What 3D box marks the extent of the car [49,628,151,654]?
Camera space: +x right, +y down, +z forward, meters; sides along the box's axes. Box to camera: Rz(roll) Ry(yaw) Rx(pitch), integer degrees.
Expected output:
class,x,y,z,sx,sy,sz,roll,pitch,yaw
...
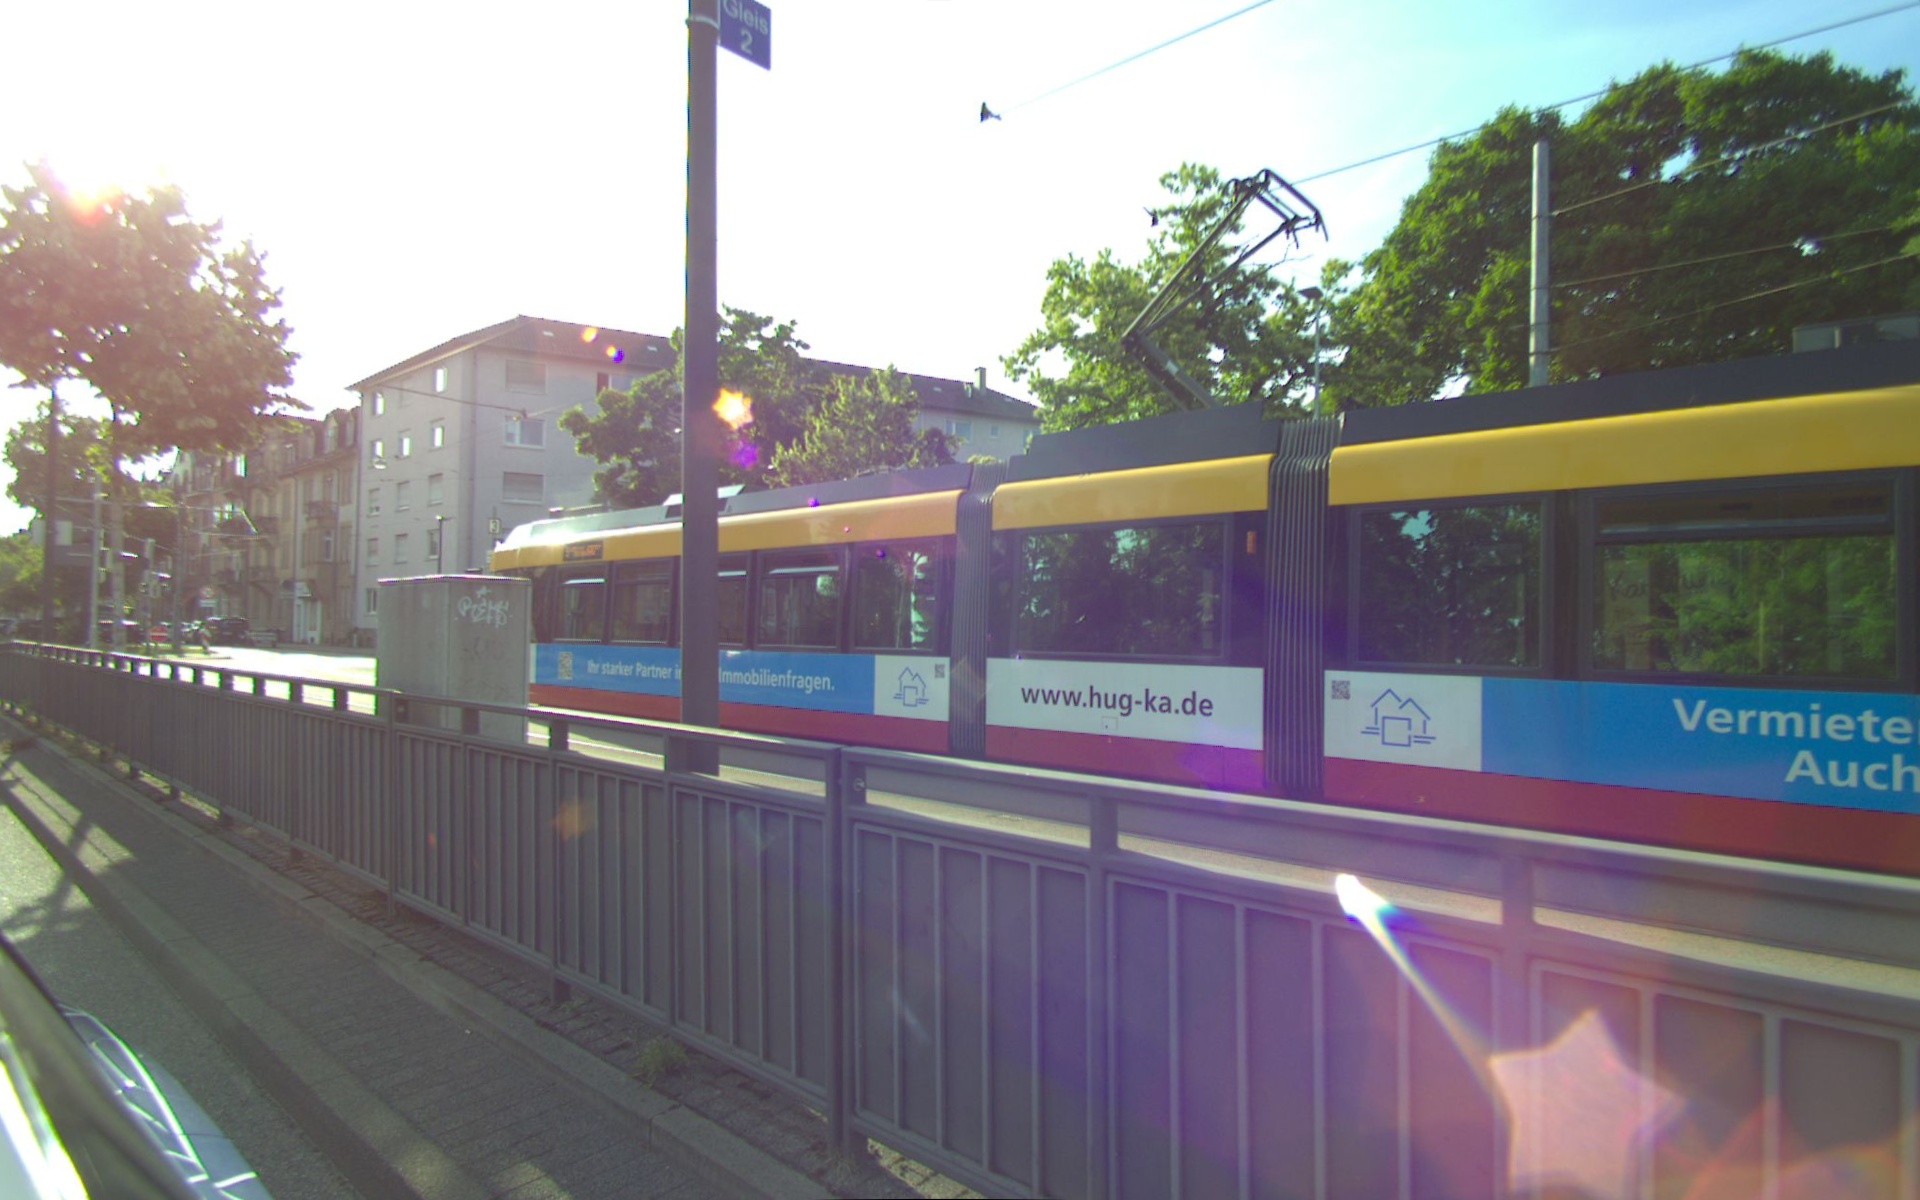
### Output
class,x,y,z,sx,sy,sz,roll,pitch,yaw
car,-46.750,2.232,55.083,3.888,1.370,1.677,1,-2,-11

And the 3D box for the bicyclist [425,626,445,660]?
class,x,y,z,sx,sy,sz,roll,pitch,yaw
bicyclist,-25.441,2.081,49.014,0.839,1.655,0.816,1,-2,-28

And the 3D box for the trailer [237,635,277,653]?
class,x,y,z,sx,sy,sz,roll,pitch,yaw
trailer,-43.351,2.704,62.398,2.879,0.903,1.425,-2,3,43

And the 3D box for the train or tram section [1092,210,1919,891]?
class,x,y,z,sx,sy,sz,roll,pitch,yaw
train or tram section,7.548,-0.278,4.971,14.466,3.506,3.128,-2,-2,42

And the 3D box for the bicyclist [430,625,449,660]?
class,x,y,z,sx,sy,sz,roll,pitch,yaw
bicyclist,-24.836,2.010,48.317,0.760,1.655,0.797,2,-3,-27

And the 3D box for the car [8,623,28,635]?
class,x,y,z,sx,sy,sz,roll,pitch,yaw
car,-153.440,4.723,164.825,3.998,2.029,1.972,-2,-2,42

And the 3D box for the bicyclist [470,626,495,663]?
class,x,y,z,sx,sy,sz,roll,pitch,yaw
bicyclist,-18.450,1.722,39.105,0.717,1.424,0.643,-2,-2,45

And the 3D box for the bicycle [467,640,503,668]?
class,x,y,z,sx,sy,sz,roll,pitch,yaw
bicycle,-18.361,2.058,39.076,0.535,1.026,2.251,1,-2,-45

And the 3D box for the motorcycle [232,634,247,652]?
class,x,y,z,sx,sy,sz,roll,pitch,yaw
motorcycle,-45.519,2.701,63.913,0.627,1.088,1.737,1,-2,-39

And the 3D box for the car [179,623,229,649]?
class,x,y,z,sx,sy,sz,roll,pitch,yaw
car,-53.250,2.518,71.249,4.612,1.763,2.140,-2,-2,44

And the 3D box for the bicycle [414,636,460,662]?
class,x,y,z,sx,sy,sz,roll,pitch,yaw
bicycle,-25.353,2.364,49.090,1.946,1.212,0.737,1,-2,-27

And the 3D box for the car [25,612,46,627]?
class,x,y,z,sx,sy,sz,roll,pitch,yaw
car,-128.444,2.710,140.537,1.970,2.029,4.002,1,-2,-45

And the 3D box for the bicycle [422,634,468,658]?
class,x,y,z,sx,sy,sz,roll,pitch,yaw
bicycle,-24.643,2.193,48.434,1.883,1.119,0.737,2,-3,-27

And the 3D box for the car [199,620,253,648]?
class,x,y,z,sx,sy,sz,roll,pitch,yaw
car,-48.473,2.227,66.808,4.719,1.763,2.140,-2,-2,44

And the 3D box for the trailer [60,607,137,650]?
class,x,y,z,sx,sy,sz,roll,pitch,yaw
trailer,-48.926,1.601,57.517,2.817,2.410,1.728,0,-2,-16

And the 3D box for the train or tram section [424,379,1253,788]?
class,x,y,z,sx,sy,sz,roll,pitch,yaw
train or tram section,-3.266,0.028,14.684,14.527,3.506,3.128,-2,-2,42

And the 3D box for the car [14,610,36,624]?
class,x,y,z,sx,sy,sz,roll,pitch,yaw
car,-137.547,2.536,148.830,3.998,2.029,1.972,-2,-2,42

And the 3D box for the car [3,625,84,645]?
class,x,y,z,sx,sy,sz,roll,pitch,yaw
car,-67.398,2.564,74.495,4.205,1.433,1.684,0,-2,-6

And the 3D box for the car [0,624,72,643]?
class,x,y,z,sx,sy,sz,roll,pitch,yaw
car,-72.625,2.604,79.226,4.205,1.433,2.175,0,-2,-6

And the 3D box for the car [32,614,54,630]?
class,x,y,z,sx,sy,sz,roll,pitch,yaw
car,-120.303,2.916,132.784,1.970,2.029,4.002,1,-2,-45
